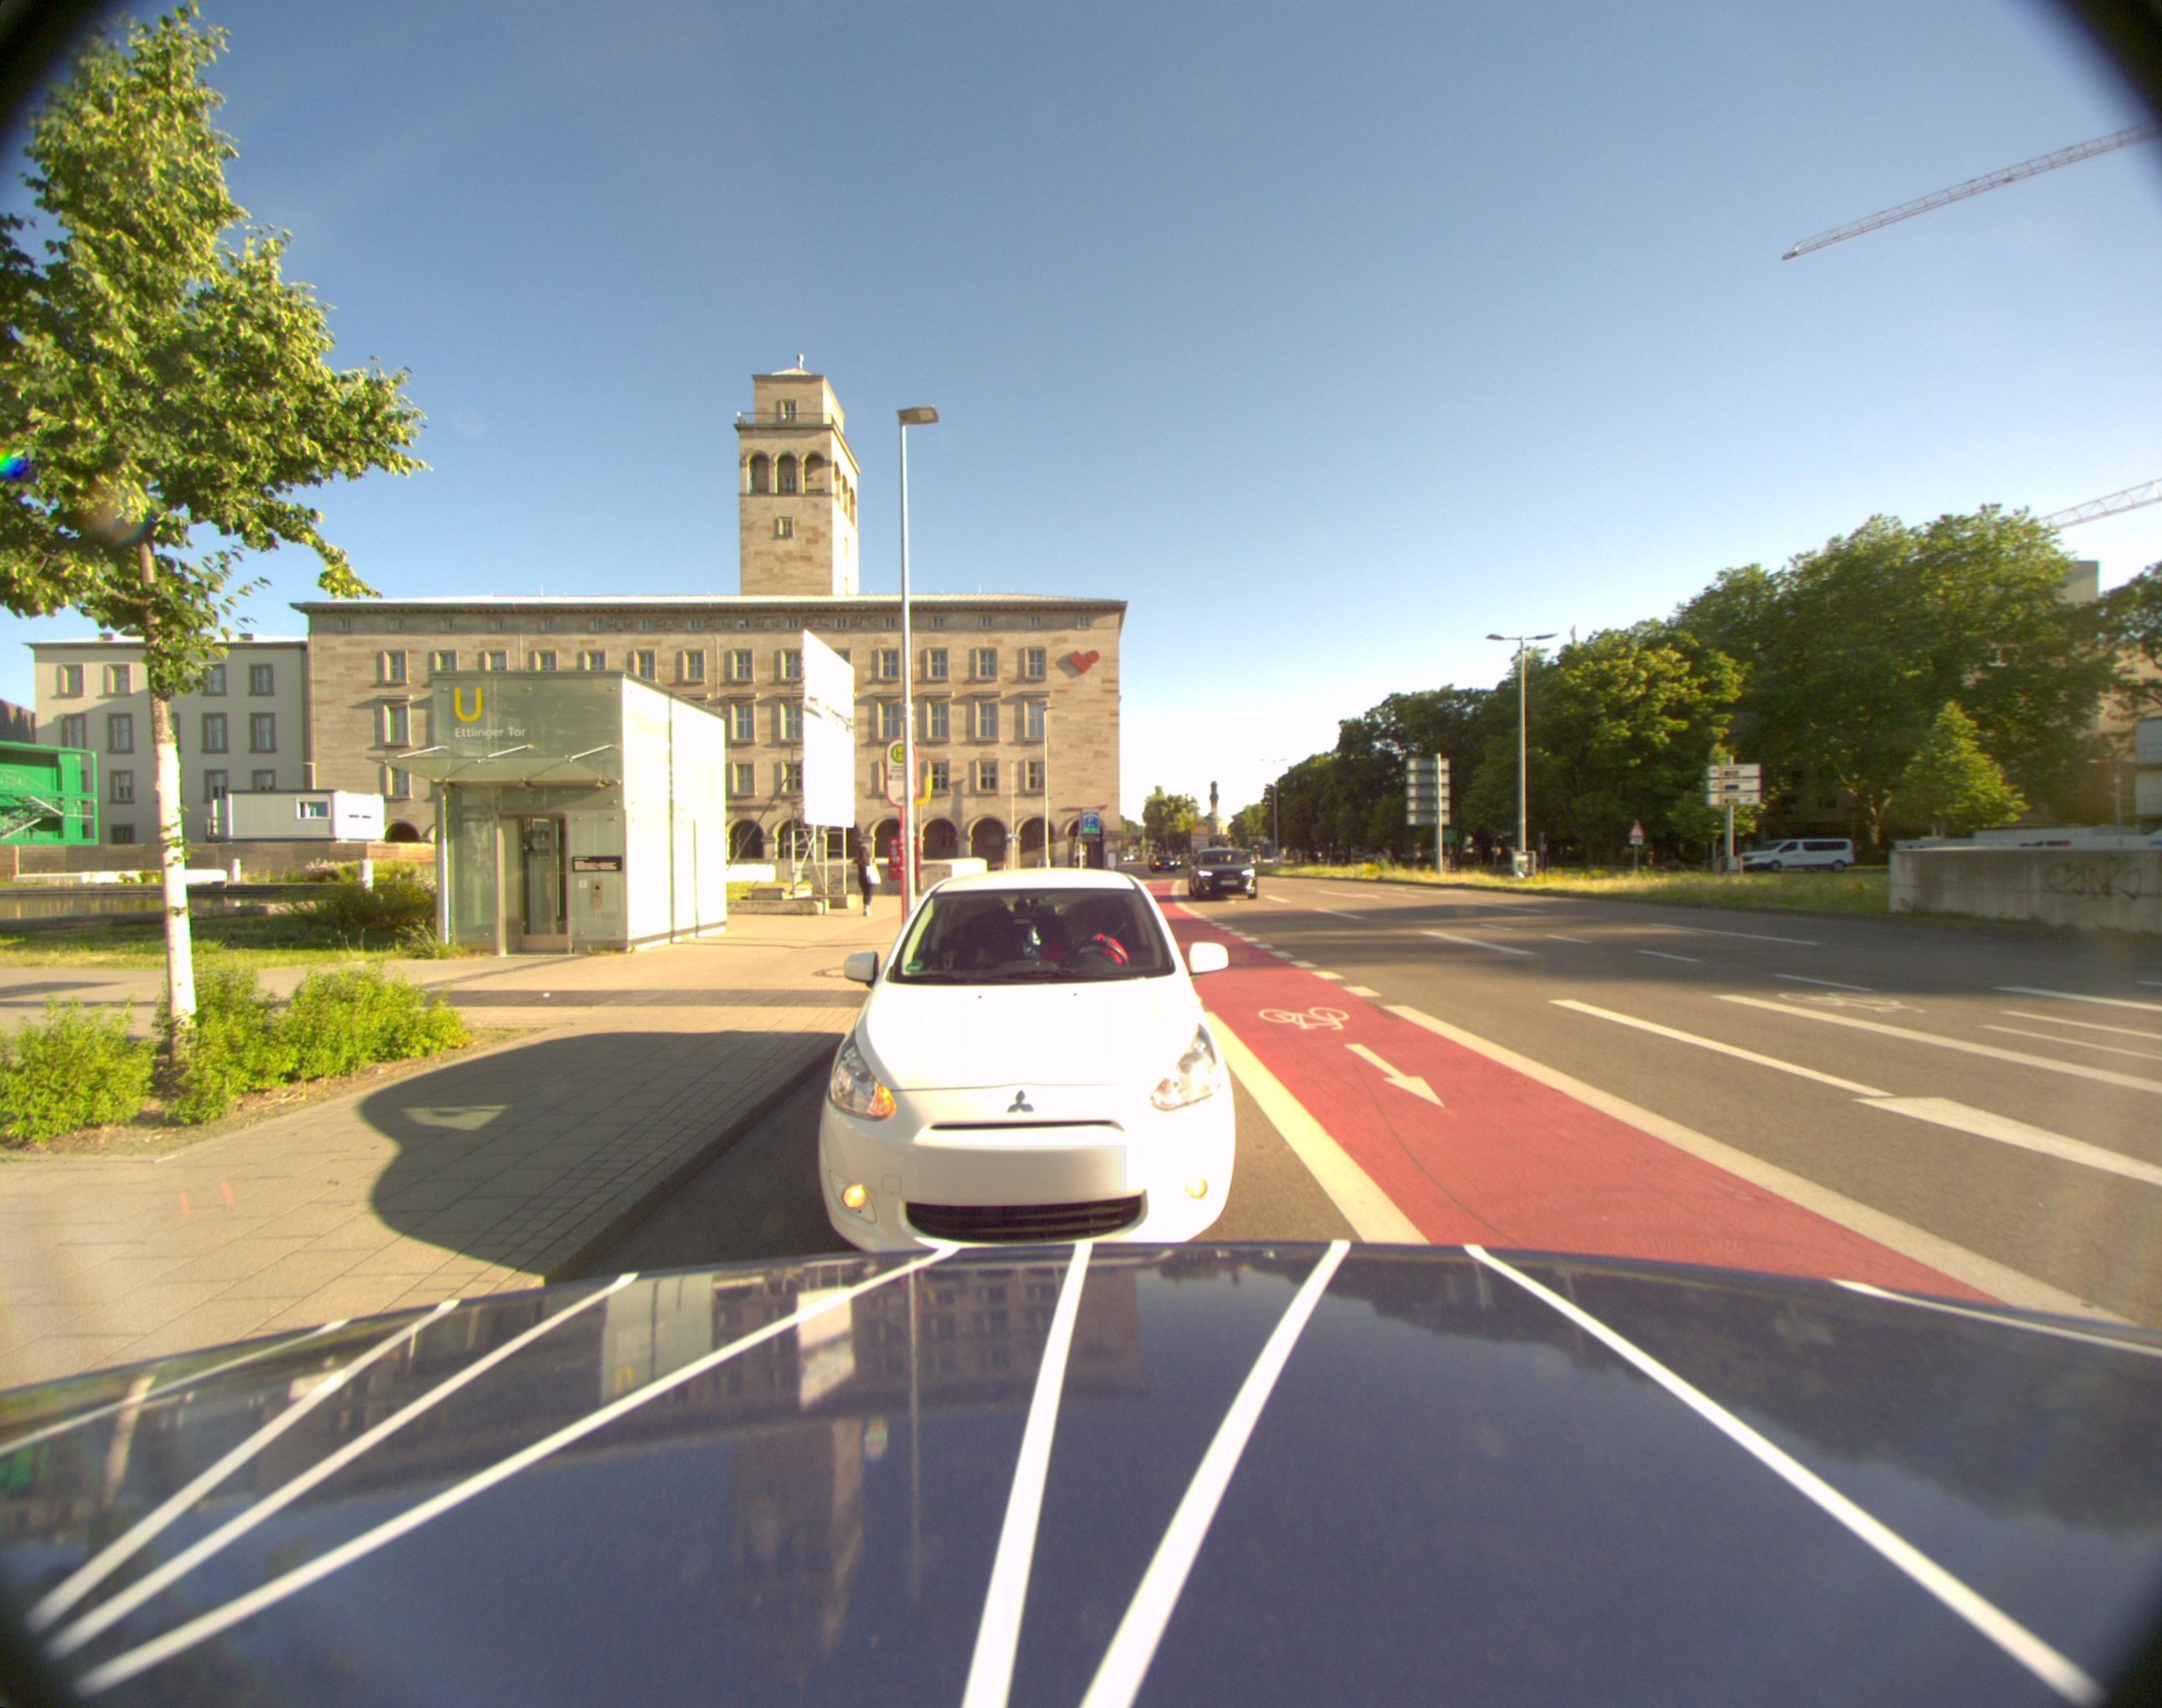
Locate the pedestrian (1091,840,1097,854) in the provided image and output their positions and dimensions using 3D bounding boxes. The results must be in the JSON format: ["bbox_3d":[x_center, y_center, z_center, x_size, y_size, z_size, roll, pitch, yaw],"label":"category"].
[{"bbox_3d":[1.709,-0.921,100.339,0.704,1.843,0.828,-1,1,0],"label":"pedestrian"}]

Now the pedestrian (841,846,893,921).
[{"bbox_3d":[-5.233,0.708,18.662,0.942,1.776,1.072,1,1,1],"label":"pedestrian"}]

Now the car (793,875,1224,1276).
[{"bbox_3d":[-0.160,0.955,4.972,1.678,1.440,3.890,-2,0,4],"label":"car"}]

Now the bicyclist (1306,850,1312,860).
[{"bbox_3d":[31.573,0.152,105.187,0.610,1.274,0.715,-1,1,-1],"label":"bicyclist"}]

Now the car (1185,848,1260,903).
[{"bbox_3d":[4.614,0.647,25.383,1.937,1.634,4.618,-1,0,4],"label":"car"}]

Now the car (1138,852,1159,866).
[{"bbox_3d":[7.783,0.567,88.262,1.998,1.398,4.488,-2,0,0],"label":"car"}]

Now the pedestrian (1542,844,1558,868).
[{"bbox_3d":[33.783,0.154,54.778,0.707,1.715,0.762,-1,1,3],"label":"pedestrian"}]

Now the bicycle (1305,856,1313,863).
[{"bbox_3d":[31.579,0.763,105.198,0.610,0.838,1.745,-1,0,-1],"label":"bicycle"}]

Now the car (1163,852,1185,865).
[{"bbox_3d":[11.086,0.557,90.485,1.998,1.398,4.488,-2,0,0],"label":"car"}]

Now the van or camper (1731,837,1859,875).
[{"bbox_3d":[42.298,0.109,45.082,5.649,2.002,1.948,-2,1,2],"label":"van or camper"}]

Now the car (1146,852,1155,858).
[{"bbox_3d":[17.956,0.237,195.936,1.873,1.390,3.999,-1,0,-2],"label":"car"}]

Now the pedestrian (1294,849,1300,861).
[{"bbox_3d":[31.963,0.158,112.320,0.628,1.837,0.925,-1,1,-1],"label":"pedestrian"}]

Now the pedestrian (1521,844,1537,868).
[{"bbox_3d":[32.156,0.155,54.486,0.707,1.715,0.762,-1,1,1],"label":"pedestrian"}]

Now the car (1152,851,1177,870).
[{"bbox_3d":[8.111,0.612,73.907,1.998,1.709,4.325,-1,0,1],"label":"car"}]

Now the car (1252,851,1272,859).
[{"bbox_3d":[32.881,0.165,138.066,1.994,1.499,4.008,0,0,38],"label":"car"}]

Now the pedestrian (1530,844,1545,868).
[{"bbox_3d":[32.882,0.162,54.760,0.665,1.715,0.762,-1,1,1],"label":"pedestrian"}]
